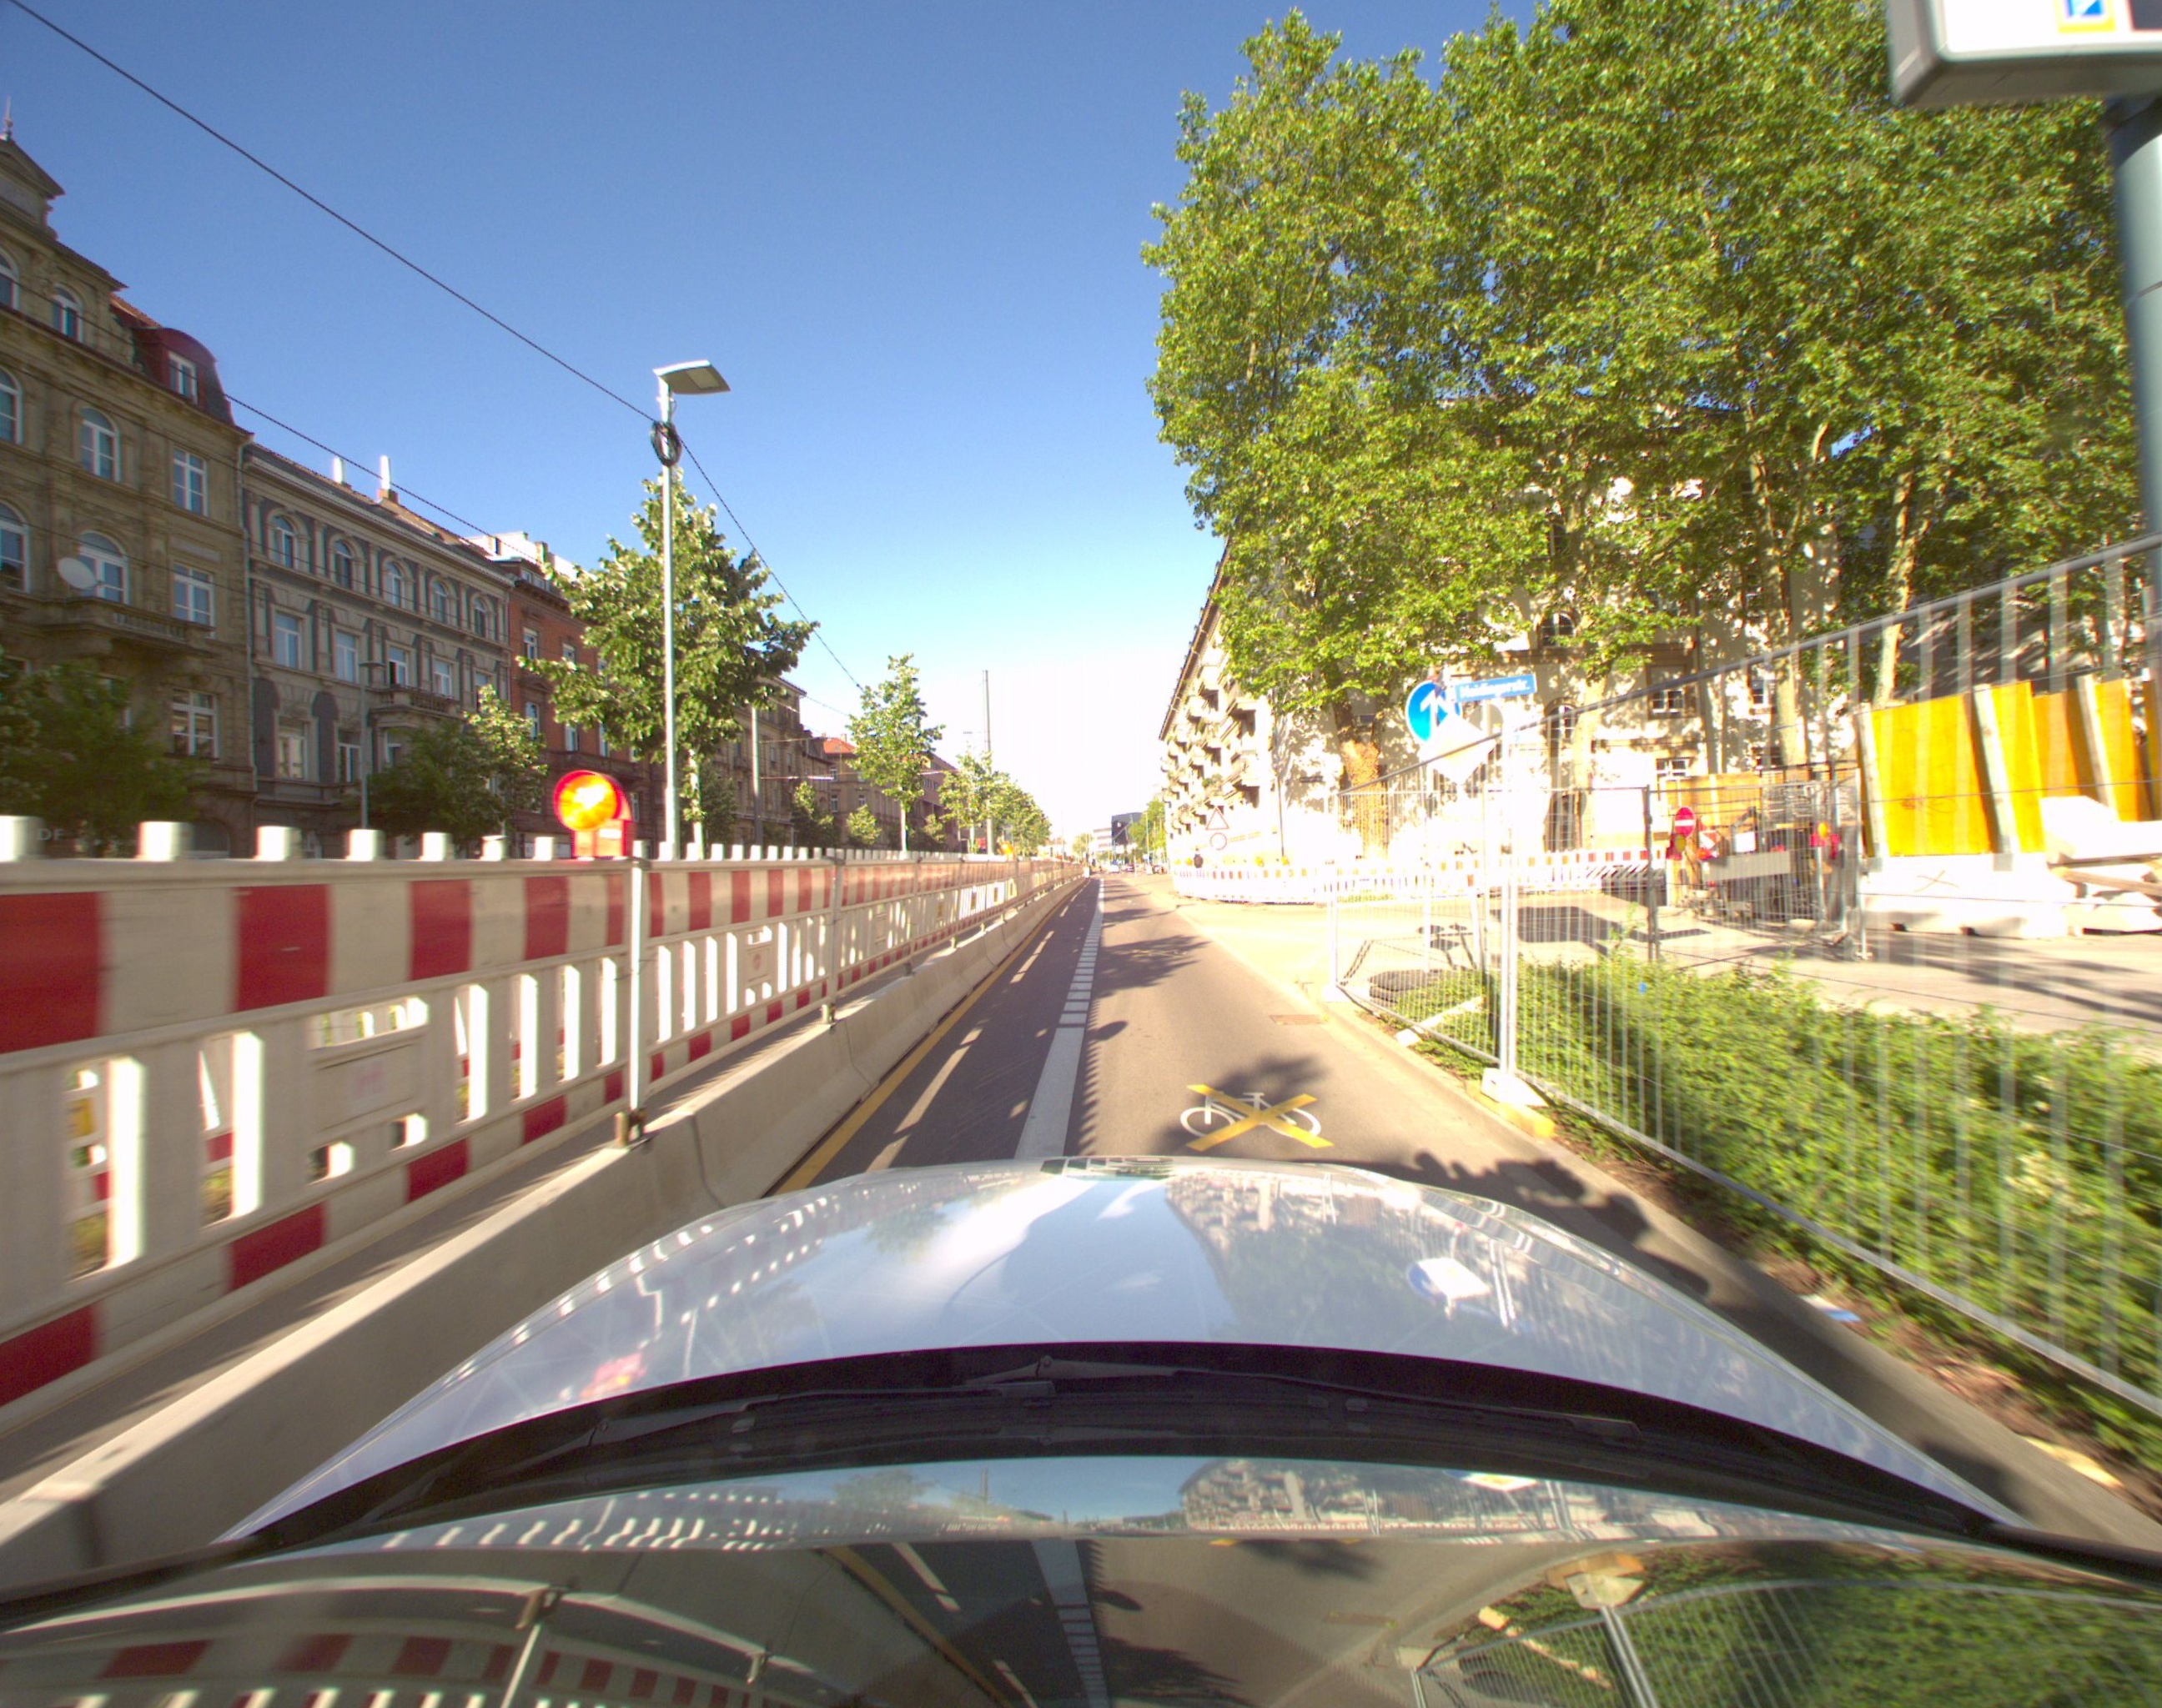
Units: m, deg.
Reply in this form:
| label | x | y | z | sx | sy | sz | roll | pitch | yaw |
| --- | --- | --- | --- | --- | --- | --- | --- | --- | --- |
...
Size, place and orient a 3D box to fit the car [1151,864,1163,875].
| label | x | y | z | sx | sy | sz | roll | pitch | yaw |
| --- | --- | --- | --- | --- | --- | --- | --- | --- | --- |
| car | 12.725 | 2.577 | 136.286 | 1.875 | 1.590 | 3.670 | -2 | -1 | 2 |

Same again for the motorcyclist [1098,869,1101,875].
| label | x | y | z | sx | sy | sz | roll | pitch | yaw |
| --- | --- | --- | --- | --- | --- | --- | --- | --- | --- |
| motorcyclist | 4.249 | 4.041 | 185.545 | 0.629 | 1.263 | 0.606 | -2 | -1 | 1 |

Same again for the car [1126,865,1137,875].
| label | x | y | z | sx | sy | sz | roll | pitch | yaw |
| --- | --- | --- | --- | --- | --- | --- | --- | --- | --- |
| car | 10.257 | 3.181 | 165.528 | 1.876 | 1.843 | 3.669 | -2 | -1 | 2 |

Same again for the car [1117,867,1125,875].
| label | x | y | z | sx | sy | sz | roll | pitch | yaw |
| --- | --- | --- | --- | --- | --- | --- | --- | --- | --- |
| car | 9.372 | 4.033 | 190.483 | 1.876 | 1.843 | 3.669 | -2 | -1 | 2 |

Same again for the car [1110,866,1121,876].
| label | x | y | z | sx | sy | sz | roll | pitch | yaw |
| --- | --- | --- | --- | --- | --- | --- | --- | --- | --- |
| car | 6.741 | 3.241 | 159.194 | 1.876 | 1.843 | 3.669 | -2 | -1 | 2 |

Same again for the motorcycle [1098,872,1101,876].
| label | x | y | z | sx | sy | sz | roll | pitch | yaw |
| --- | --- | --- | --- | --- | --- | --- | --- | --- | --- |
| motorcycle | 4.268 | 4.504 | 185.463 | 0.628 | 0.897 | 1.621 | -2 | -1 | 2 |

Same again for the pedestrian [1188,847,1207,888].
| label | x | y | z | sx | sy | sz | roll | pitch | yaw |
| --- | --- | --- | --- | --- | --- | --- | --- | --- | --- |
| pedestrian | 5.059 | 0.579 | 35.495 | 0.666 | 1.746 | 0.778 | -2 | -1 | 3 |
